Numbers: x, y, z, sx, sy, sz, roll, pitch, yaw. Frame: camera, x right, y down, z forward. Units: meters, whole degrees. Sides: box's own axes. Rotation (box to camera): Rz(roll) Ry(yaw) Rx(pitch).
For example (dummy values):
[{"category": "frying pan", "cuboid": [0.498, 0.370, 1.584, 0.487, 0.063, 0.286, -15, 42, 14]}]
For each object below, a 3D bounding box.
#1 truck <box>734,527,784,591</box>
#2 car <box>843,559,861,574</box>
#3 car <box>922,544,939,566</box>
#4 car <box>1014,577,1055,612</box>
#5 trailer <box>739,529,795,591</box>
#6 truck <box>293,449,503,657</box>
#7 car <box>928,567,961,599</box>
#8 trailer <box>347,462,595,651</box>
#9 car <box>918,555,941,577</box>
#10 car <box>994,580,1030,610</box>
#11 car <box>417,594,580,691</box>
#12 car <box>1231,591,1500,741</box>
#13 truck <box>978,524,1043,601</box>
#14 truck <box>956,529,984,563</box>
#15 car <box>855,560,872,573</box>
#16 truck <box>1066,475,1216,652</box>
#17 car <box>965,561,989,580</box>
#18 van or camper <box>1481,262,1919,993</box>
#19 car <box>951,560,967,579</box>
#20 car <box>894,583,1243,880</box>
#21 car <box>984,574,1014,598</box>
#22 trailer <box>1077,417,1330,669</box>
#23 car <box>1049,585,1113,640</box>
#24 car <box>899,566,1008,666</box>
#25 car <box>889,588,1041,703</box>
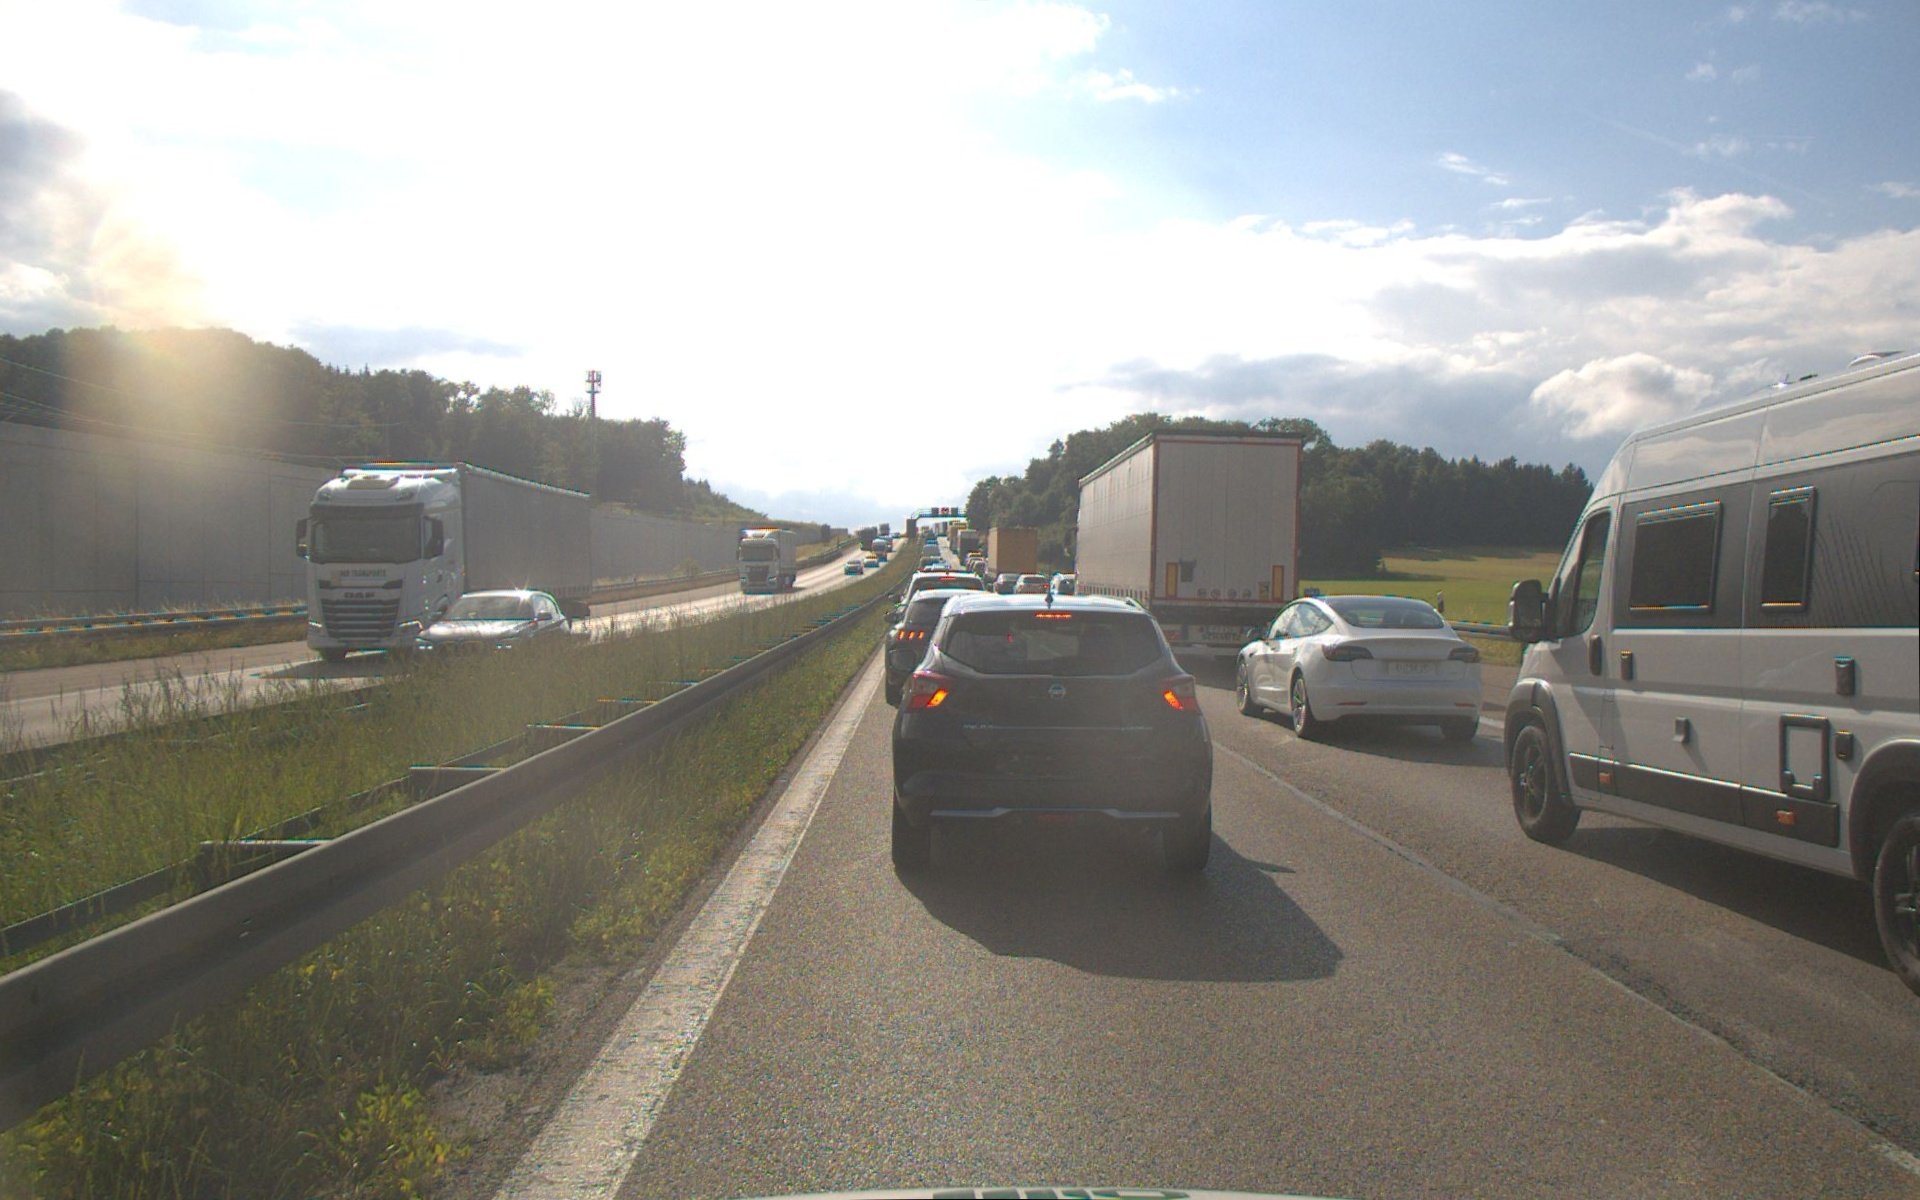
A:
[{"category": "truck", "cuboid": [-13.521, -2.737, 111.818, 2.720, 4.159, 5.530, -2, 0, -1]}, {"category": "car", "cuboid": [-10.814, -3.327, 166.332, 1.618, 1.476, 3.955, 0, 0, -1]}, {"category": "car", "cuboid": [-3.169, -4.845, 177.959, 1.835, 2.195, 5.211, 0, 3, -1]}, {"category": "car", "cuboid": [3.777, -0.291, 84.521, 1.835, 1.673, 4.232, 0, 1, -1]}, {"category": "trailer", "cuboid": [-13.719, -2.737, 118.718, 2.734, 4.148, 13.516, -2, 0, -2]}, {"category": "truck", "cuboid": [-12.047, -0.967, 35.994, 2.631, 4.139, 5.878, -1, 0, -1]}, {"category": "car", "cuboid": [-0.877, -0.954, 92.619, 1.835, 1.672, 4.232, 0, 2, -1]}, {"category": "trailer", "cuboid": [-12.190, -1.001, 42.990, 2.629, 4.108, 13.788, -1, 0, -1]}, {"category": "car", "cuboid": [-2.498, -2.780, 134.063, 1.836, 1.672, 4.231, 0, 2, -2]}, {"category": "car", "cuboid": [2.948, -0.304, 94.073, 1.835, 1.673, 4.232, 0, 1, -1]}, {"category": "car", "cuboid": [-7.307, 0.625, 26.535, 1.600, 1.425, 3.895, 0, 0, -2]}, {"category": "car", "cuboid": [4.285, 0.626, 18.202, 1.752, 1.418, 4.435, 0, 1, -2]}, {"category": "truck", "cuboid": [3.163, -2.269, 107.451, 3.231, 4.657, 12.434, 1, 0, -2]}, {"category": "truck", "cuboid": [1.369, -7.558, 232.423, 3.395, 4.656, 12.437, 1, 2, -2]}, {"category": "car", "cuboid": [-11.418, -4.006, 196.519, 1.835, 1.476, 4.231, 0, 0, -1]}, {"category": "truck", "cuboid": [4.390, -0.841, 41.082, 3.070, 4.086, 5.163, 1, 0, -1]}, {"category": "car", "cuboid": [1.483, -2.665, 149.687, 1.836, 1.672, 4.229, 0, 2, -4]}, {"category": "van or camper", "cuboid": [4.641, 0.090, 8.001, 2.170, 2.728, 6.331, 0, 0, -1]}, {"category": "car", "cuboid": [-0.142, -3.807, 207.035, 1.835, 2.195, 5.211, 0, 3, -1]}, {"category": "car", "cuboid": [0.510, 0.638, 10.341, 1.737, 1.476, 4.231, 0, 0, -1]}, {"category": "car", "cuboid": [2.756, -0.988, 117.858, 1.836, 1.673, 4.230, 0, 1, -3]}, {"category": "trailer", "cuboid": [4.475, -0.884, 33.872, 3.067, 4.081, 13.364, 1, 0, -1]}, {"category": "car", "cuboid": [3.699, 0.352, 51.303, 1.663, 1.639, 4.437, 0, 0, 0]}, {"category": "car", "cuboid": [-0.139, 0.254, 29.973, 1.835, 1.673, 4.231, 0, 0, -1]}, {"category": "car", "cuboid": [0.027, 0.528, 22.014, 1.835, 1.381, 4.231, 0, 0, -1]}]
